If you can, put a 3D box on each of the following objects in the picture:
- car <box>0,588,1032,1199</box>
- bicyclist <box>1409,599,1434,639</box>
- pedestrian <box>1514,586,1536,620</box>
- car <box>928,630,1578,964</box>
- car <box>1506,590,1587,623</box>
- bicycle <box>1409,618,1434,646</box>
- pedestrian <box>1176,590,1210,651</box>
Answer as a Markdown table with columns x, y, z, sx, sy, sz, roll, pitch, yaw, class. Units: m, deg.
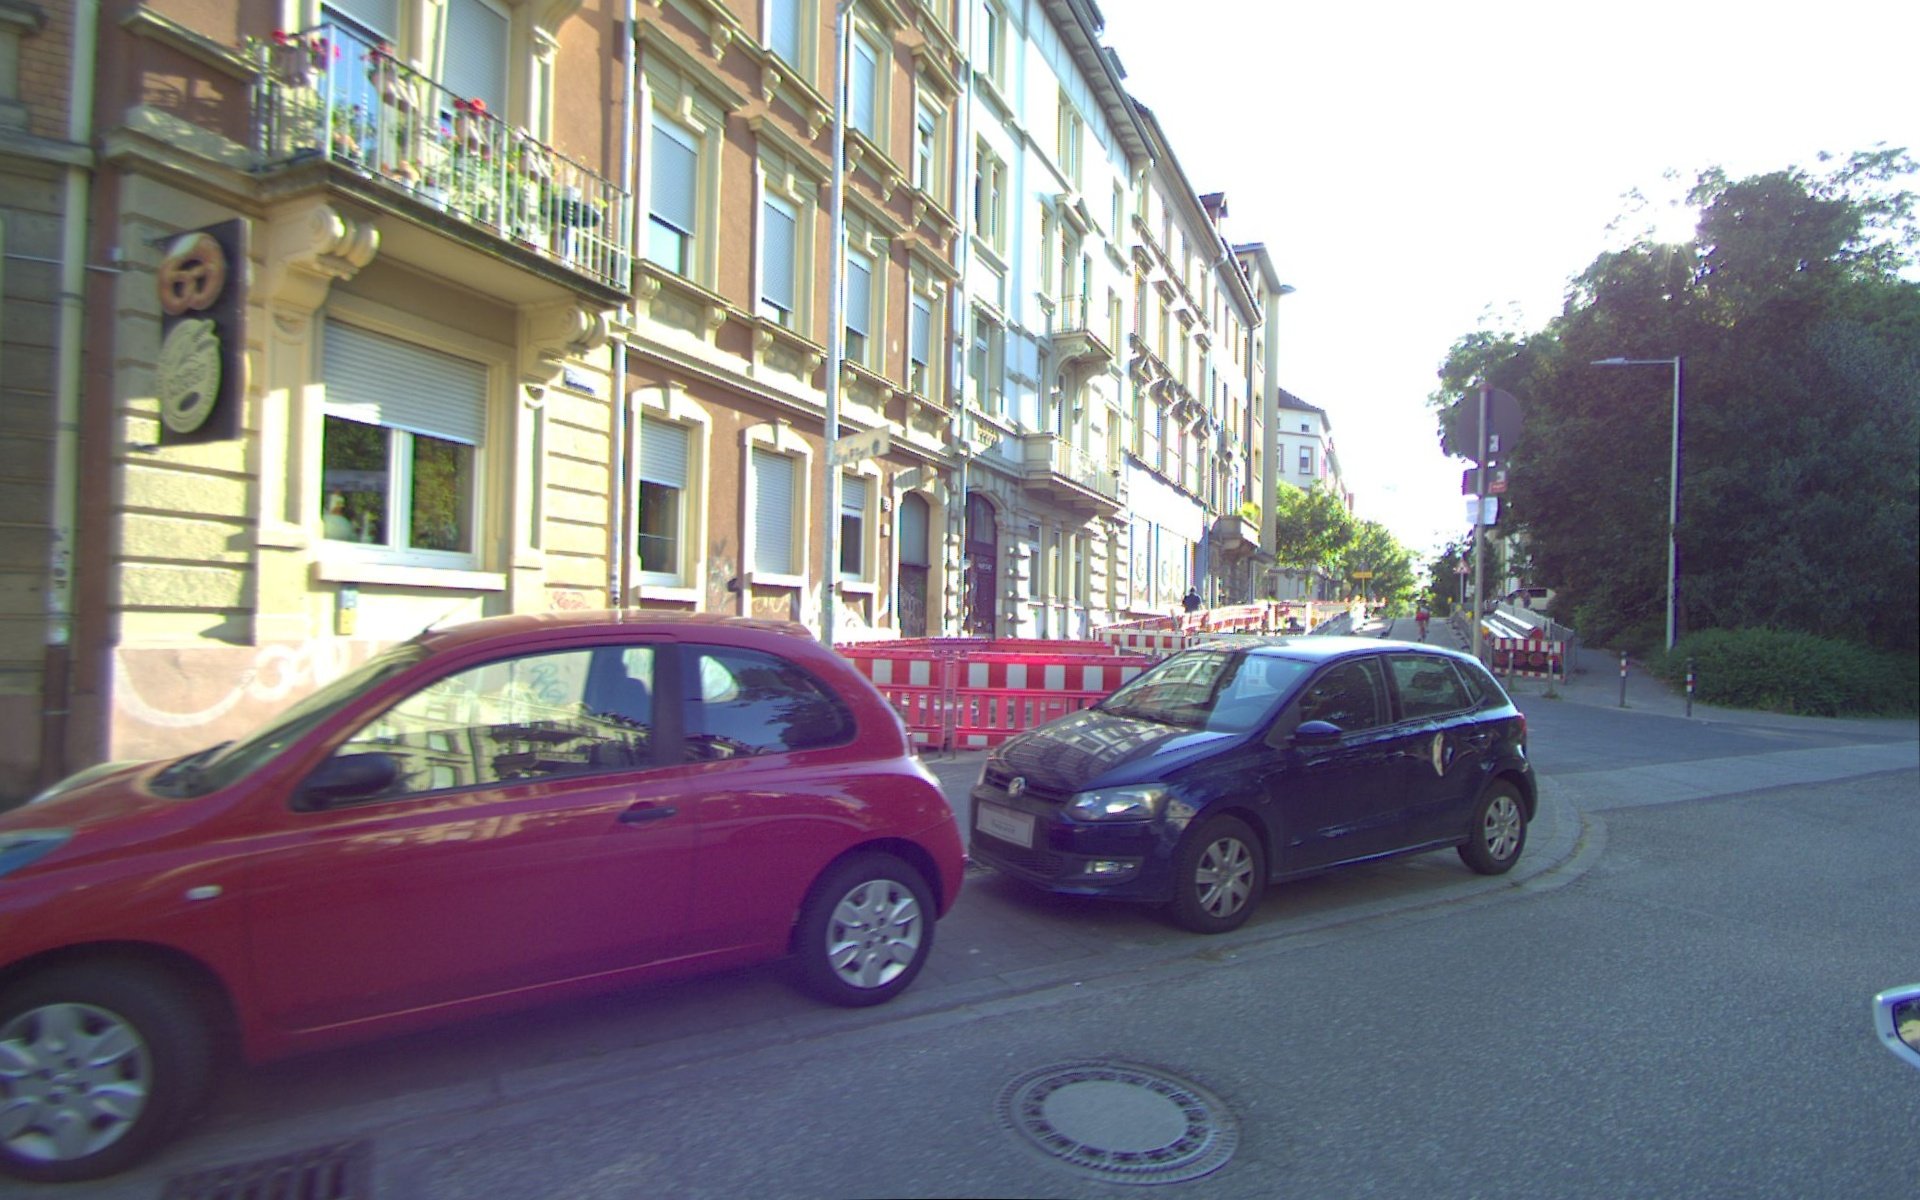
| x | y | z | sx | sy | sz | roll | pitch | yaw | class |
| --- | --- | --- | --- | --- | --- | --- | --- | --- | --- |
| -1.803 | 0.785 | 3.944 | 3.956 | 1.550 | 1.660 | 2 | -1 | -33 | car |
| 16.649 | 0.683 | 36.225 | 0.790 | 1.402 | 0.984 | 1 | 0 | 25 | bicyclist |
| 29.959 | 0.178 | 53.262 | 0.843 | 1.786 | 1.092 | 1 | 0 | 23 | pedestrian |
| 1.929 | 0.966 | 6.280 | 3.954 | 1.477 | 1.661 | 2 | -1 | -31 | car |
| 38.323 | 0.395 | 65.662 | 4.315 | 2.040 | 1.926 | 1 | 0 | 38 | car |
| 16.630 | 1.135 | 36.208 | 0.790 | 0.981 | 2.107 | 1 | 0 | 24 | bicycle |
| 7.905 | 0.688 | 34.075 | 0.925 | 2.040 | 0.958 | 0 | -1 | 26 | pedestrian |
